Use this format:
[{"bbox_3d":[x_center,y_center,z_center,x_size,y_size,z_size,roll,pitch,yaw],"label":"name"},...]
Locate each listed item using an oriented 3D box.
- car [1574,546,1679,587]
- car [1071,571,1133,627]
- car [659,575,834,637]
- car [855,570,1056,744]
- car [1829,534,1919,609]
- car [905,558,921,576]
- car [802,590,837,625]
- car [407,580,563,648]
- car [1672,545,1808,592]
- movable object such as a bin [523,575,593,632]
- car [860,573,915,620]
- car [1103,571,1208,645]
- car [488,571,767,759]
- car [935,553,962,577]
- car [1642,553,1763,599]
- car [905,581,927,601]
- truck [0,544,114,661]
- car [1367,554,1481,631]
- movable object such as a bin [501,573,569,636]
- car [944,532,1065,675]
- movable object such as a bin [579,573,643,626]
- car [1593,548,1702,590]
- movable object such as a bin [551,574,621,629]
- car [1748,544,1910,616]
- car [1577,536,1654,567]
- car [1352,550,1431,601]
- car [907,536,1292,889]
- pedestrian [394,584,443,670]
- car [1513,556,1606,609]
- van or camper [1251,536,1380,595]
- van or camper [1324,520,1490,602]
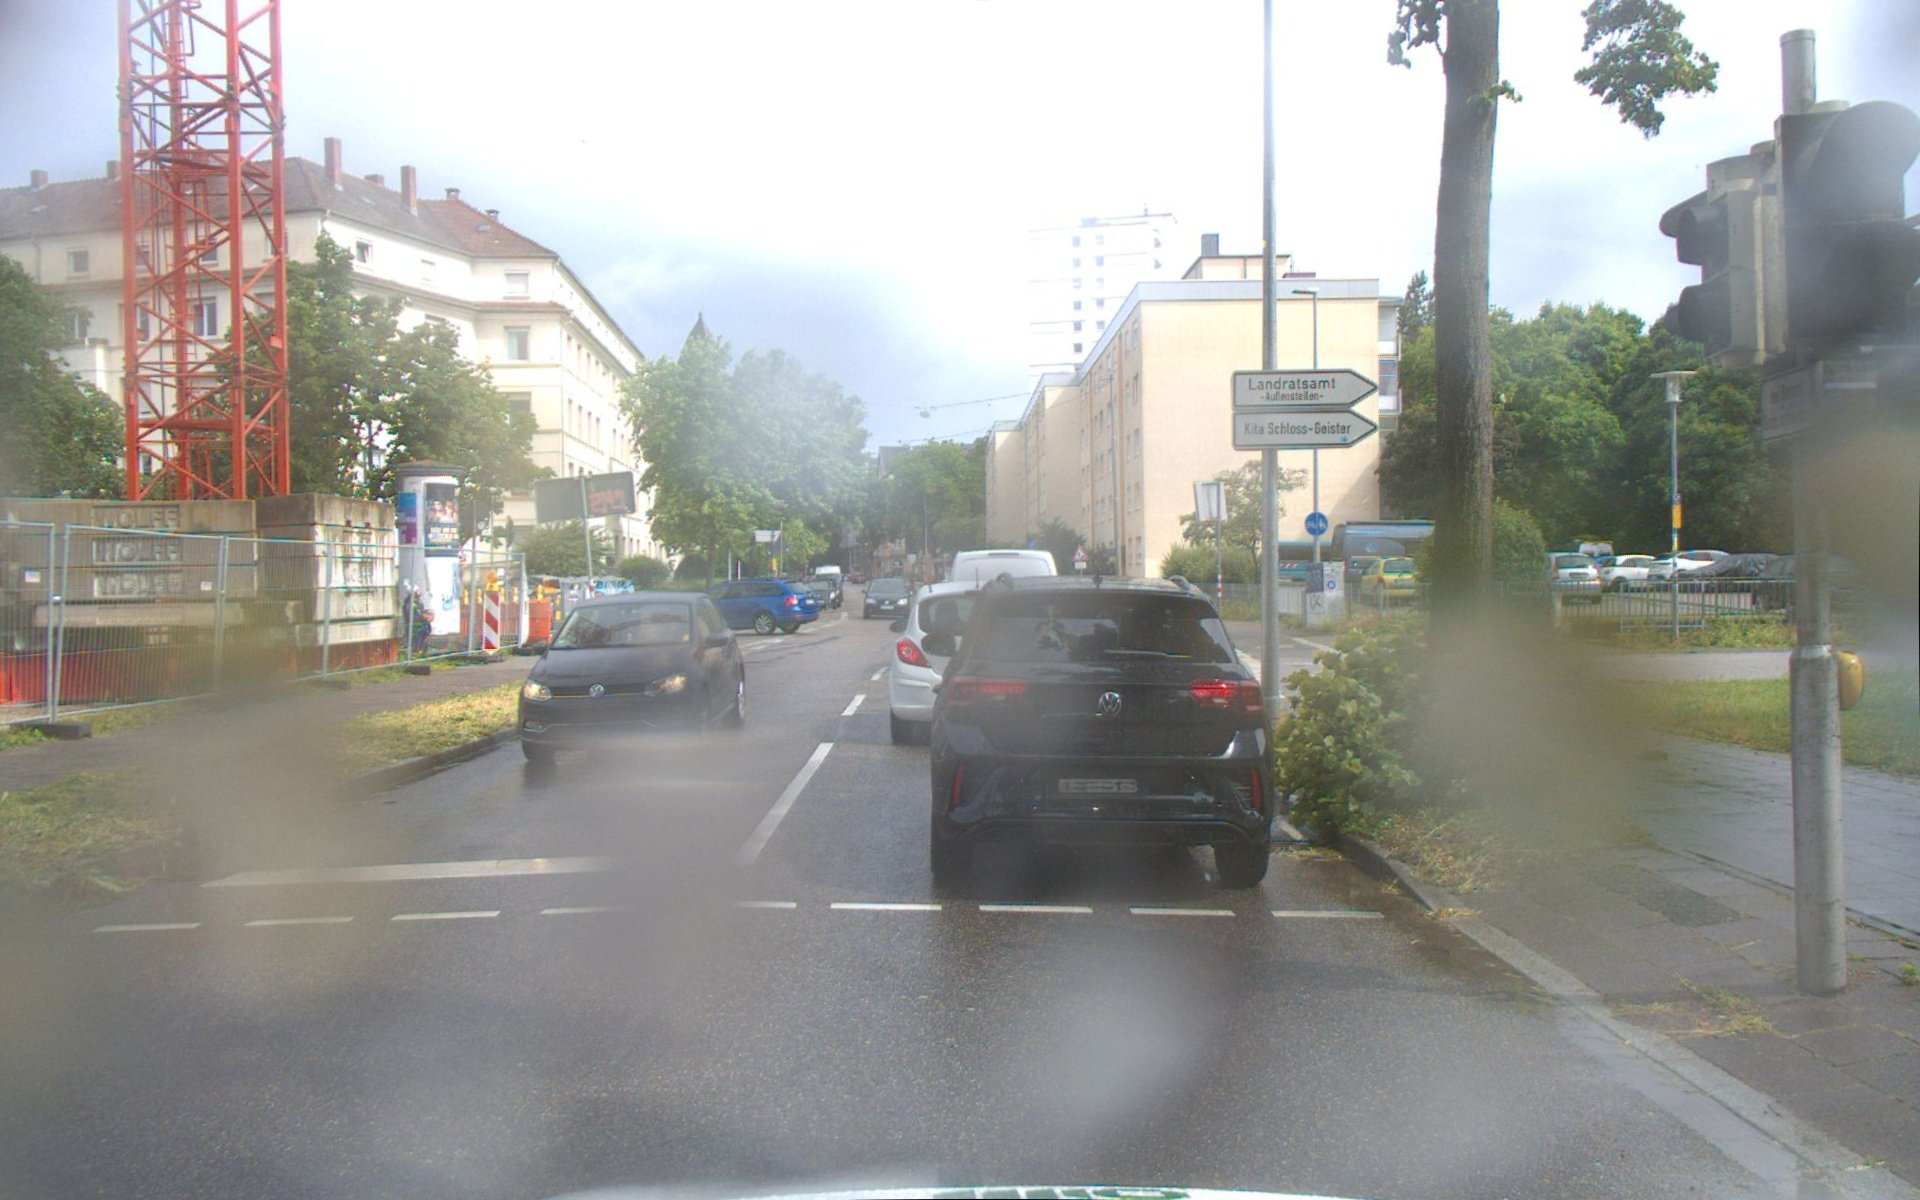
[{"bbox_3d":[27.088,-1.358,67.294,3.590,1.512,1.640,-2,1,3],"label":"car"},{"bbox_3d":[4.323,-0.003,50.825,1.720,1.554,4.001,2,-1,3],"label":"car"},{"bbox_3d":[-5.756,0.173,44.679,4.340,1.613,1.822,0,-1,19],"label":"car"},{"bbox_3d":[-0.051,0.508,16.793,1.776,1.529,3.999,1,0,-1],"label":"car"},{"bbox_3d":[22.836,-0.715,39.822,1.814,1.708,4.426,-2,1,5],"label":"car"},{"bbox_3d":[-5.177,-3.604,181.540,1.632,1.869,3.998,-2,1,-3],"label":"car"},{"bbox_3d":[-6.746,0.346,79.302,1.555,1.532,4.061,-2,1,-5],"label":"car"},{"bbox_3d":[-13.273,0.406,46.395,3.913,1.665,1.891,-3,-1,-9],"label":"car"},{"bbox_3d":[26.972,-1.090,57.286,3.892,1.490,1.673,-2,1,1],"label":"car"},{"bbox_3d":[-12.599,0.099,51.907,1.505,1.685,1.529,-1,1,18],"label":"movable object such as a bin"},{"bbox_3d":[-2.717,-0.153,62.554,1.803,1.636,4.001,-3,1,1],"label":"car"},{"bbox_3d":[4.575,0.141,39.263,1.738,1.566,4.377,-3,1,-2],"label":"car"},{"bbox_3d":[-3.015,0.544,15.805,1.776,1.567,3.982,0,0,1],"label":"car"},{"bbox_3d":[-0.817,-2.492,118.764,1.803,1.636,3.676,-3,1,1],"label":"car"},{"bbox_3d":[26.724,-0.870,59.601,3.590,1.512,1.640,-2,1,3],"label":"car"},{"bbox_3d":[-3.810,-0.834,144.106,1.705,1.636,3.676,-3,1,1],"label":"car"},{"bbox_3d":[-30.502,-0.072,48.769,9.603,3.239,3.796,1,1,12],"label":"truck"},{"bbox_3d":[11.687,-0.213,41.915,1.766,1.780,4.239,-2,1,2],"label":"car"},{"bbox_3d":[-12.934,0.125,50.362,1.505,1.856,1.264,-1,1,18],"label":"movable object such as a bin"},{"bbox_3d":[0.720,0.055,26.940,1.798,2.139,4.001,1,0,1],"label":"car"},{"bbox_3d":[-11.602,-0.033,54.997,1.505,1.691,1.460,-1,1,18],"label":"movable object such as a bin"},{"bbox_3d":[26.999,-1.219,64.998,3.590,1.512,1.640,-2,1,3],"label":"car"},{"bbox_3d":[-12.086,0.044,53.475,1.505,1.703,1.667,-1,1,18],"label":"movable object such as a bin"},{"bbox_3d":[20.618,-0.489,39.451,1.790,1.553,4.426,-2,1,4],"label":"car"},{"bbox_3d":[32.052,-2.373,80.919,3.158,1.422,1.509,-2,1,3],"label":"car"},{"bbox_3d":[13.287,-0.755,51.080,1.577,1.474,3.418,-2,1,1],"label":"car"},{"bbox_3d":[0.653,0.536,9.979,1.835,1.674,4.061,1,0,-1],"label":"car"},{"bbox_3d":[-10.532,0.516,32.176,0.716,1.658,0.675,1,0,-38],"label":"pedestrian"},{"bbox_3d":[18.311,-0.558,50.653,1.614,1.512,3.720,-2,1,2],"label":"car"},{"bbox_3d":[13.915,-1.363,64.964,4.660,2.168,2.323,-1,1,3],"label":"van or camper"},{"bbox_3d":[14.747,-1.268,54.765,4.895,2.599,2.175,-1,0,1],"label":"van or camper"}]
